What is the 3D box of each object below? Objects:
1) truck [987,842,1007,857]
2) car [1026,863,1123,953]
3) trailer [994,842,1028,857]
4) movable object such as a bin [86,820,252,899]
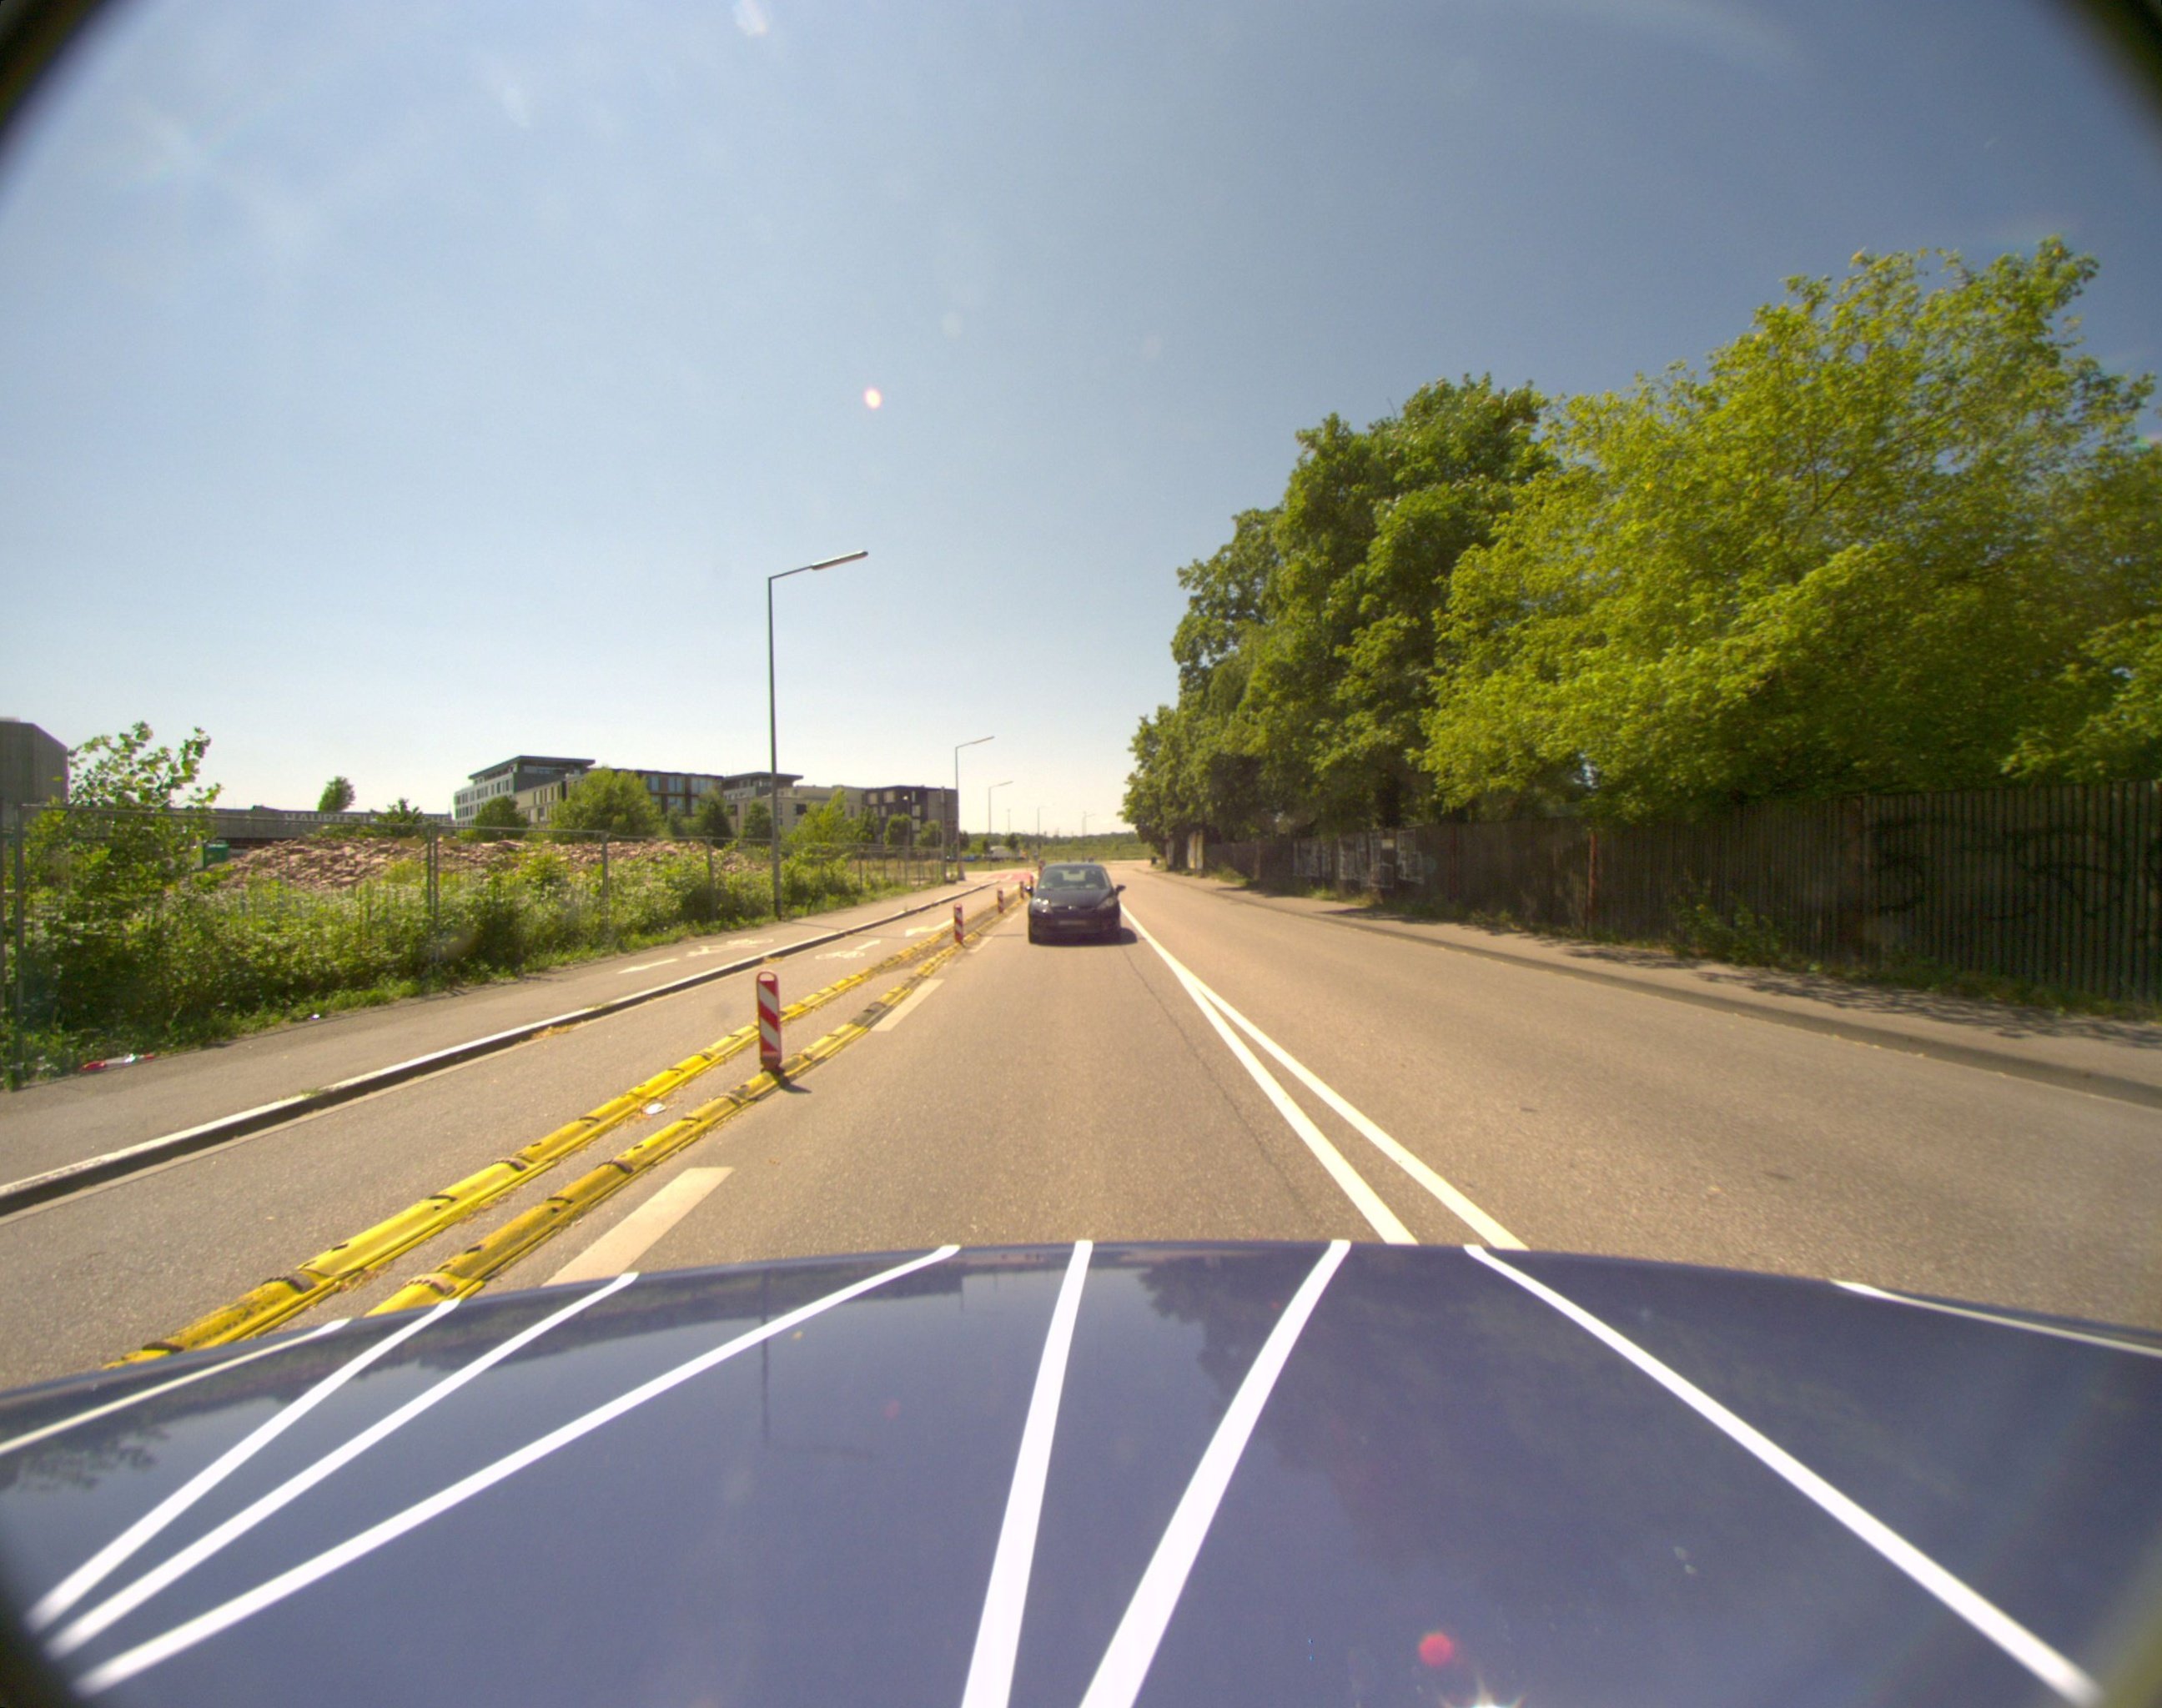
[{"bbox_3d":[-18.254,-0.954,165.572,4.008,3.316,1.994,-1,1,-45],"label":"truck"},{"bbox_3d":[-0.091,0.940,14.882,1.602,1.422,4.000,-2,0,0],"label":"car"},{"bbox_3d":[-15.502,-0.963,168.316,8.193,3.329,1.994,-1,1,-45],"label":"trailer"},{"bbox_3d":[-37.770,0.197,31.623,2.205,3.045,3.690,-2,1,6],"label":"movable object such as a bin"}]
